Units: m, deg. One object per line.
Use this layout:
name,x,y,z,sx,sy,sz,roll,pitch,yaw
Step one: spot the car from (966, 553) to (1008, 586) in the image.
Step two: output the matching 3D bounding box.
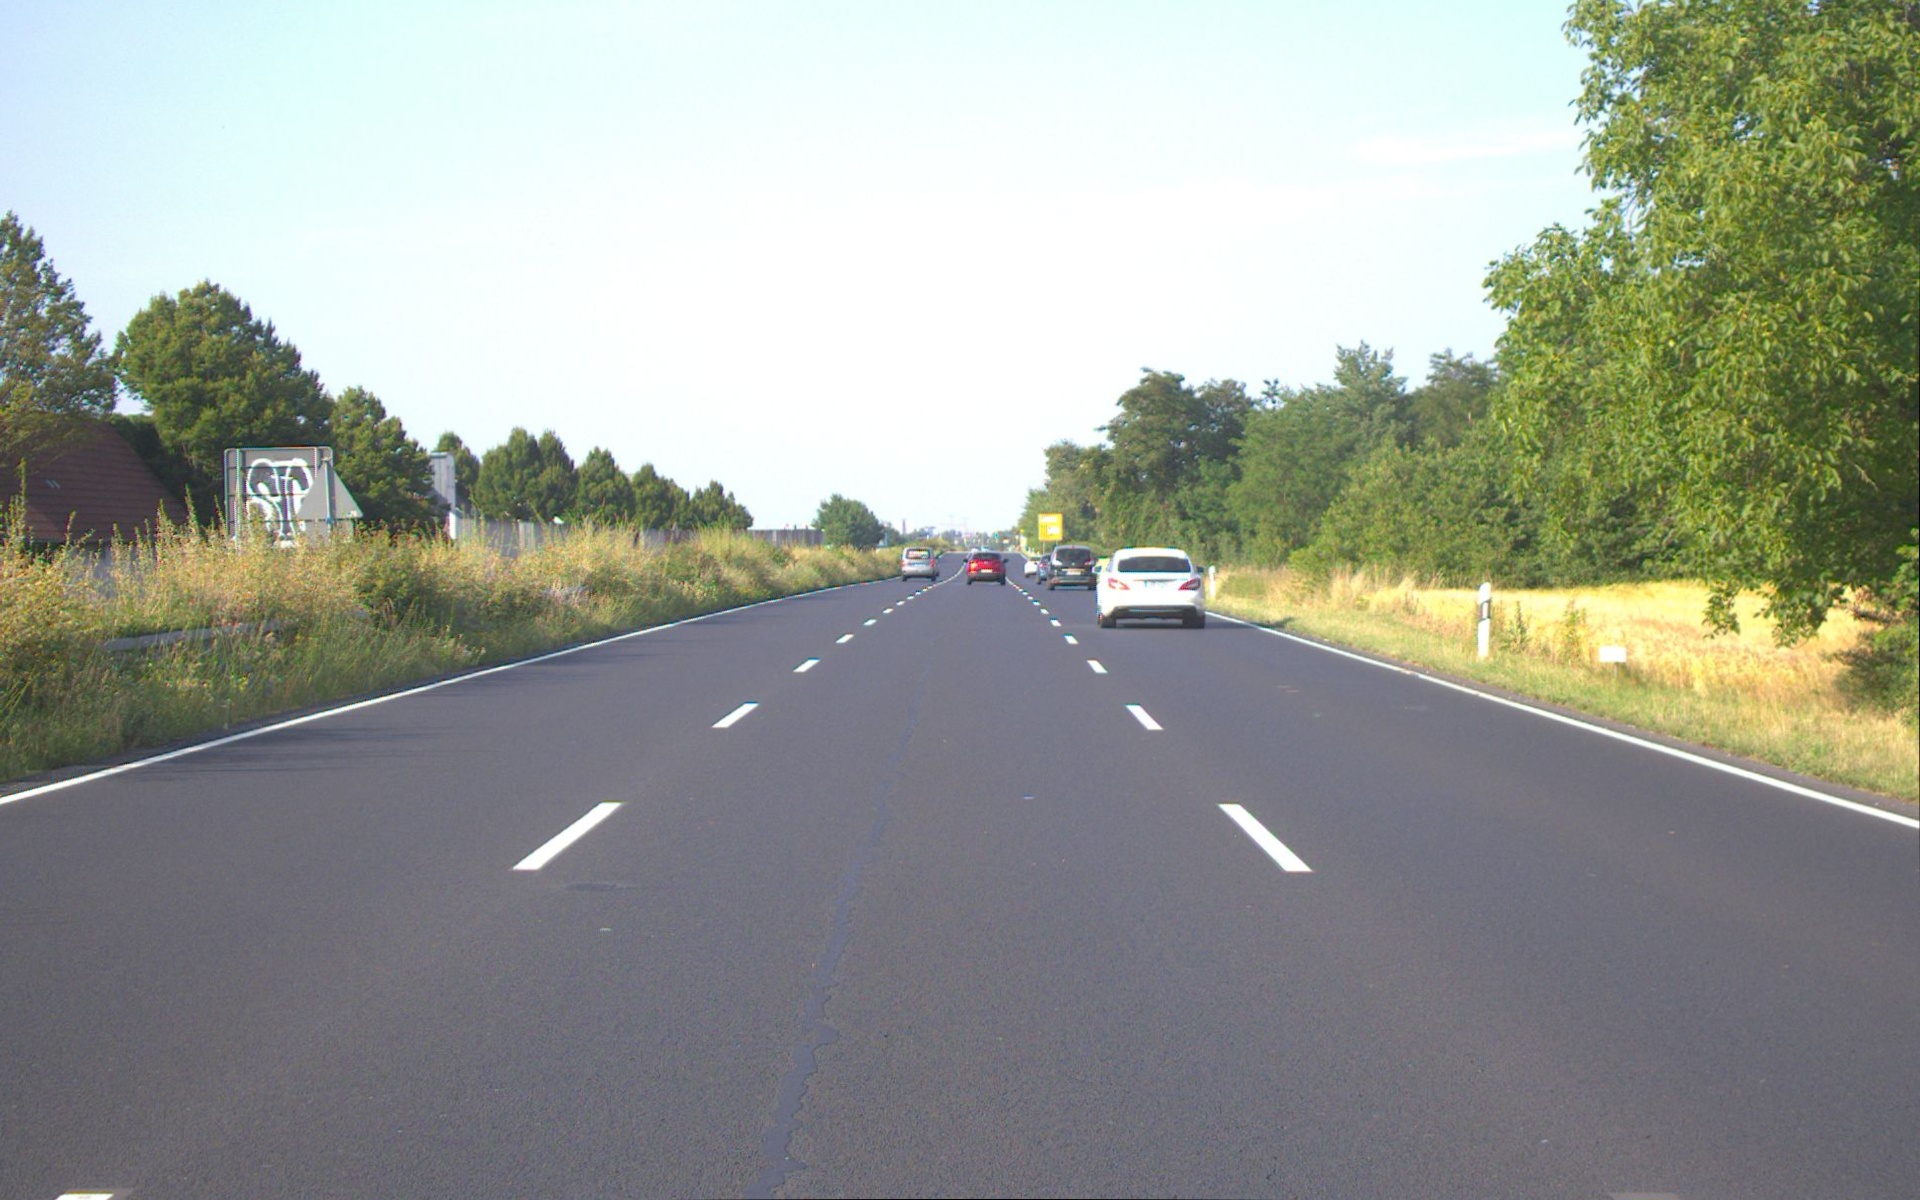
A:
car,1.219,-1.370,154.477,1.812,1.431,3.858,0,0,0

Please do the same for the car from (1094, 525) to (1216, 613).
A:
car,3.497,-0.552,62.215,1.993,1.511,4.000,0,0,0

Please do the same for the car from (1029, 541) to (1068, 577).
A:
car,4.254,-1.971,166.124,1.834,1.711,3.862,0,0,1

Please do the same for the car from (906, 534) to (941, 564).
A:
car,-2.011,-2.827,190.471,1.758,1.612,4.000,0,0,2

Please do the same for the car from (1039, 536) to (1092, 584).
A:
car,3.869,-1.456,127.078,1.828,1.722,4.000,0,0,0
